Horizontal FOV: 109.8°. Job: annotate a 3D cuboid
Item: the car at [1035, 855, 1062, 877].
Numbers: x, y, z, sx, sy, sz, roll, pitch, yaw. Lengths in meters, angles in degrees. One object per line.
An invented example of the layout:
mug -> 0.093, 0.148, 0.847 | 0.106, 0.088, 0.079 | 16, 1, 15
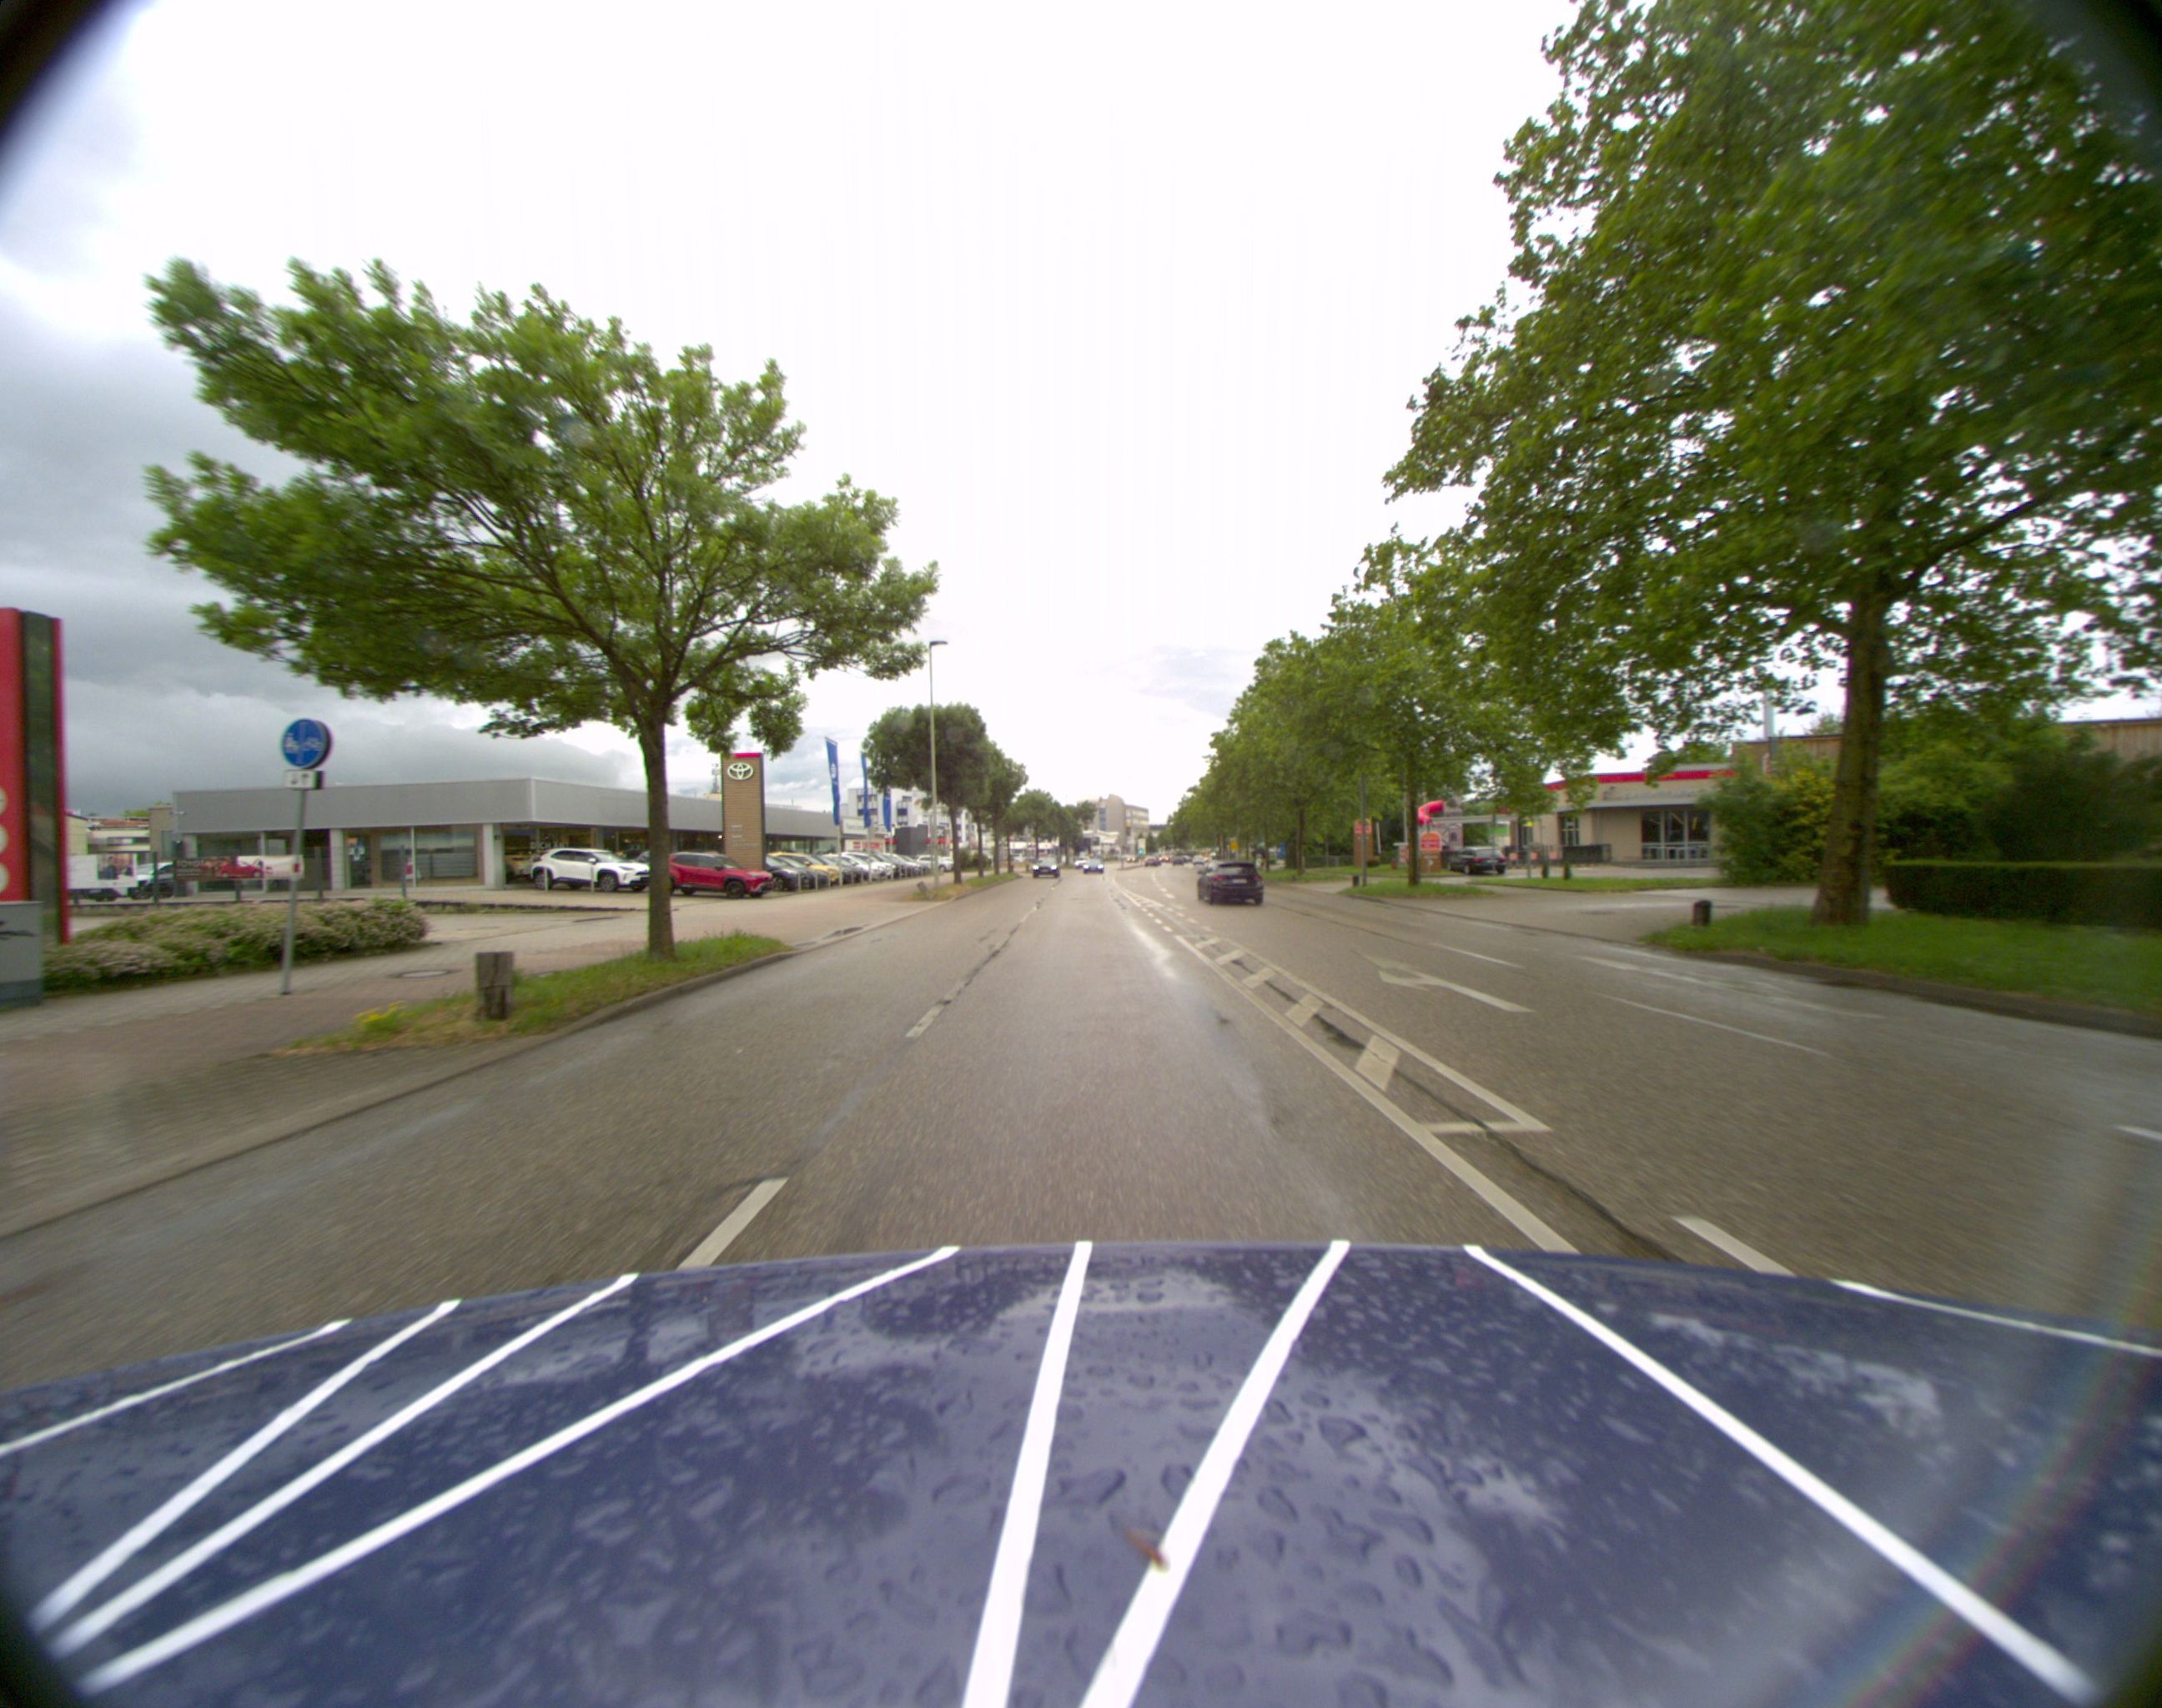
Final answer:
car -> -2.497, 0.900, 59.021 | 1.900, 1.544, 4.592 | 0, 0, 0

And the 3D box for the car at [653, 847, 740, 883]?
car -> -18.244, 0.487, 36.246 | 1.879, 1.612, 4.123 | 1, 0, 3

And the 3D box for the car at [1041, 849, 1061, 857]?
car -> -7.041, -0.301, 180.318 | 4.365, 1.895, 1.899 | 0, 0, 18

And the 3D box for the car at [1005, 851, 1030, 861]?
car -> -13.316, 0.350, 159.073 | 4.777, 2.002, 2.003 | 0, 0, 19

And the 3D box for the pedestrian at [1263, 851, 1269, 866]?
pedestrian -> 21.031, 0.469, 86.333 | 0.513, 1.673, 0.540 | 0, 1, 4

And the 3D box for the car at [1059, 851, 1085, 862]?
car -> -1.299, 0.342, 108.305 | 1.897, 1.544, 4.007 | -2, 0, 31

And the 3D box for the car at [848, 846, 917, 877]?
car -> -13.331, 0.484, 51.094 | 3.995, 1.776, 1.812 | 4, 1, 4

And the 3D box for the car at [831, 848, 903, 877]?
car -> -13.685, 0.556, 48.842 | 3.997, 1.578, 1.812 | 4, 0, 1

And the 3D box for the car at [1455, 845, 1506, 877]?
car -> 20.941, 0.334, 39.969 | 1.436, 1.419, 3.192 | -2, 2, 10

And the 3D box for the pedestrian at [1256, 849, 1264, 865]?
pedestrian -> 20.289, 0.351, 86.197 | 0.665, 1.756, 0.584 | -2, 0, 25

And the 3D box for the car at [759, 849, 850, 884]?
car -> -13.761, 0.613, 37.974 | 3.848, 1.557, 1.666 | 3, 1, -1

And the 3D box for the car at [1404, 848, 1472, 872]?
car -> 20.014, 0.332, 42.657 | 3.181, 1.148, 1.291 | -3, 0, 10

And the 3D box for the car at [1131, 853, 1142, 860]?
car -> 12.005, 0.451, 164.001 | 1.752, 1.455, 4.004 | 0, 0, 12

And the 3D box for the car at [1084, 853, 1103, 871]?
car -> 1.199, 0.732, 72.963 | 1.800, 1.623, 4.551 | 0, 0, 1

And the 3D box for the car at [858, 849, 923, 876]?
car -> -13.463, 0.586, 53.744 | 3.995, 1.575, 1.812 | 3, 1, 4

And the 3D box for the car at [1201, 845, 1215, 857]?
car -> 28.333, -0.708, 169.884 | 2.242, 2.459, 5.023 | -3, -1, 18

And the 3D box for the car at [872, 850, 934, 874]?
car -> -13.150, 0.580, 56.187 | 3.995, 1.534, 1.812 | 4, 1, 4

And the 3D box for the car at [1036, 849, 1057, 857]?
car -> -8.041, -0.175, 178.012 | 4.365, 1.753, 1.899 | 0, 0, 18

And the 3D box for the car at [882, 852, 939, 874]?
car -> -13.128, 0.670, 58.569 | 3.842, 1.453, 1.828 | 3, 0, 1

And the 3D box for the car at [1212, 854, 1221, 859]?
car -> 38.034, 0.612, 213.249 | 1.784, 1.396, 4.006 | 0, 0, 20

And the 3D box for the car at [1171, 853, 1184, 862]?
car -> 16.114, 0.566, 126.472 | 1.997, 1.499, 4.734 | 0, 0, 8

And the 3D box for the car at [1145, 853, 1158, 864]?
car -> 10.860, 0.685, 116.760 | 1.815, 1.553, 4.600 | 0, 1, 8

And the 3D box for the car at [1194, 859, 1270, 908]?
car -> 4.944, 0.920, 25.333 | 1.808, 1.454, 3.845 | 0, 0, 0

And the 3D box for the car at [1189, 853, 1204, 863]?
car -> 19.129, 0.671, 125.911 | 1.932, 1.610, 4.399 | 0, 1, 3

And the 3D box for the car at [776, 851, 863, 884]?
car -> -13.891, 0.681, 40.524 | 3.995, 1.538, 1.711 | 2, 1, 4

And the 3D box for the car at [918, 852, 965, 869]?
car -> -13.518, 0.607, 73.550 | 4.058, 1.588, 1.988 | 1, 1, 23

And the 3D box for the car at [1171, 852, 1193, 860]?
car -> 19.987, 0.356, 150.712 | 4.004, 1.532, 1.811 | -1, 2, -21

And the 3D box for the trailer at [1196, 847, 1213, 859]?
trailer -> 27.084, -0.231, 166.043 | 2.306, 2.459, 7.983 | -3, -1, 18

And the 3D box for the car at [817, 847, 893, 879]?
car -> -13.749, 0.553, 46.367 | 3.995, 1.776, 1.813 | 2, 0, 4

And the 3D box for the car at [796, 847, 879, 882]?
car -> -13.731, 0.550, 42.949 | 3.995, 1.776, 1.812 | 2, 1, 4

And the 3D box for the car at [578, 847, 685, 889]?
car -> -18.760, 0.536, 31.954 | 1.879, 1.612, 4.123 | 1, 0, 3

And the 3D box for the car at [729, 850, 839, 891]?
car -> -12.805, 0.699, 32.862 | 3.995, 1.637, 1.845 | 1, 0, 4

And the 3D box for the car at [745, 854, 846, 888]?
car -> -13.290, 0.784, 35.506 | 3.996, 1.530, 1.800 | 0, 0, 2

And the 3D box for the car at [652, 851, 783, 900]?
car -> -13.106, 0.750, 27.524 | 3.850, 1.594, 1.795 | 2, 0, 2

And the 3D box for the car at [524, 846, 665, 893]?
car -> -17.994, 0.561, 28.192 | 4.117, 1.612, 1.881 | 1, 0, 6
